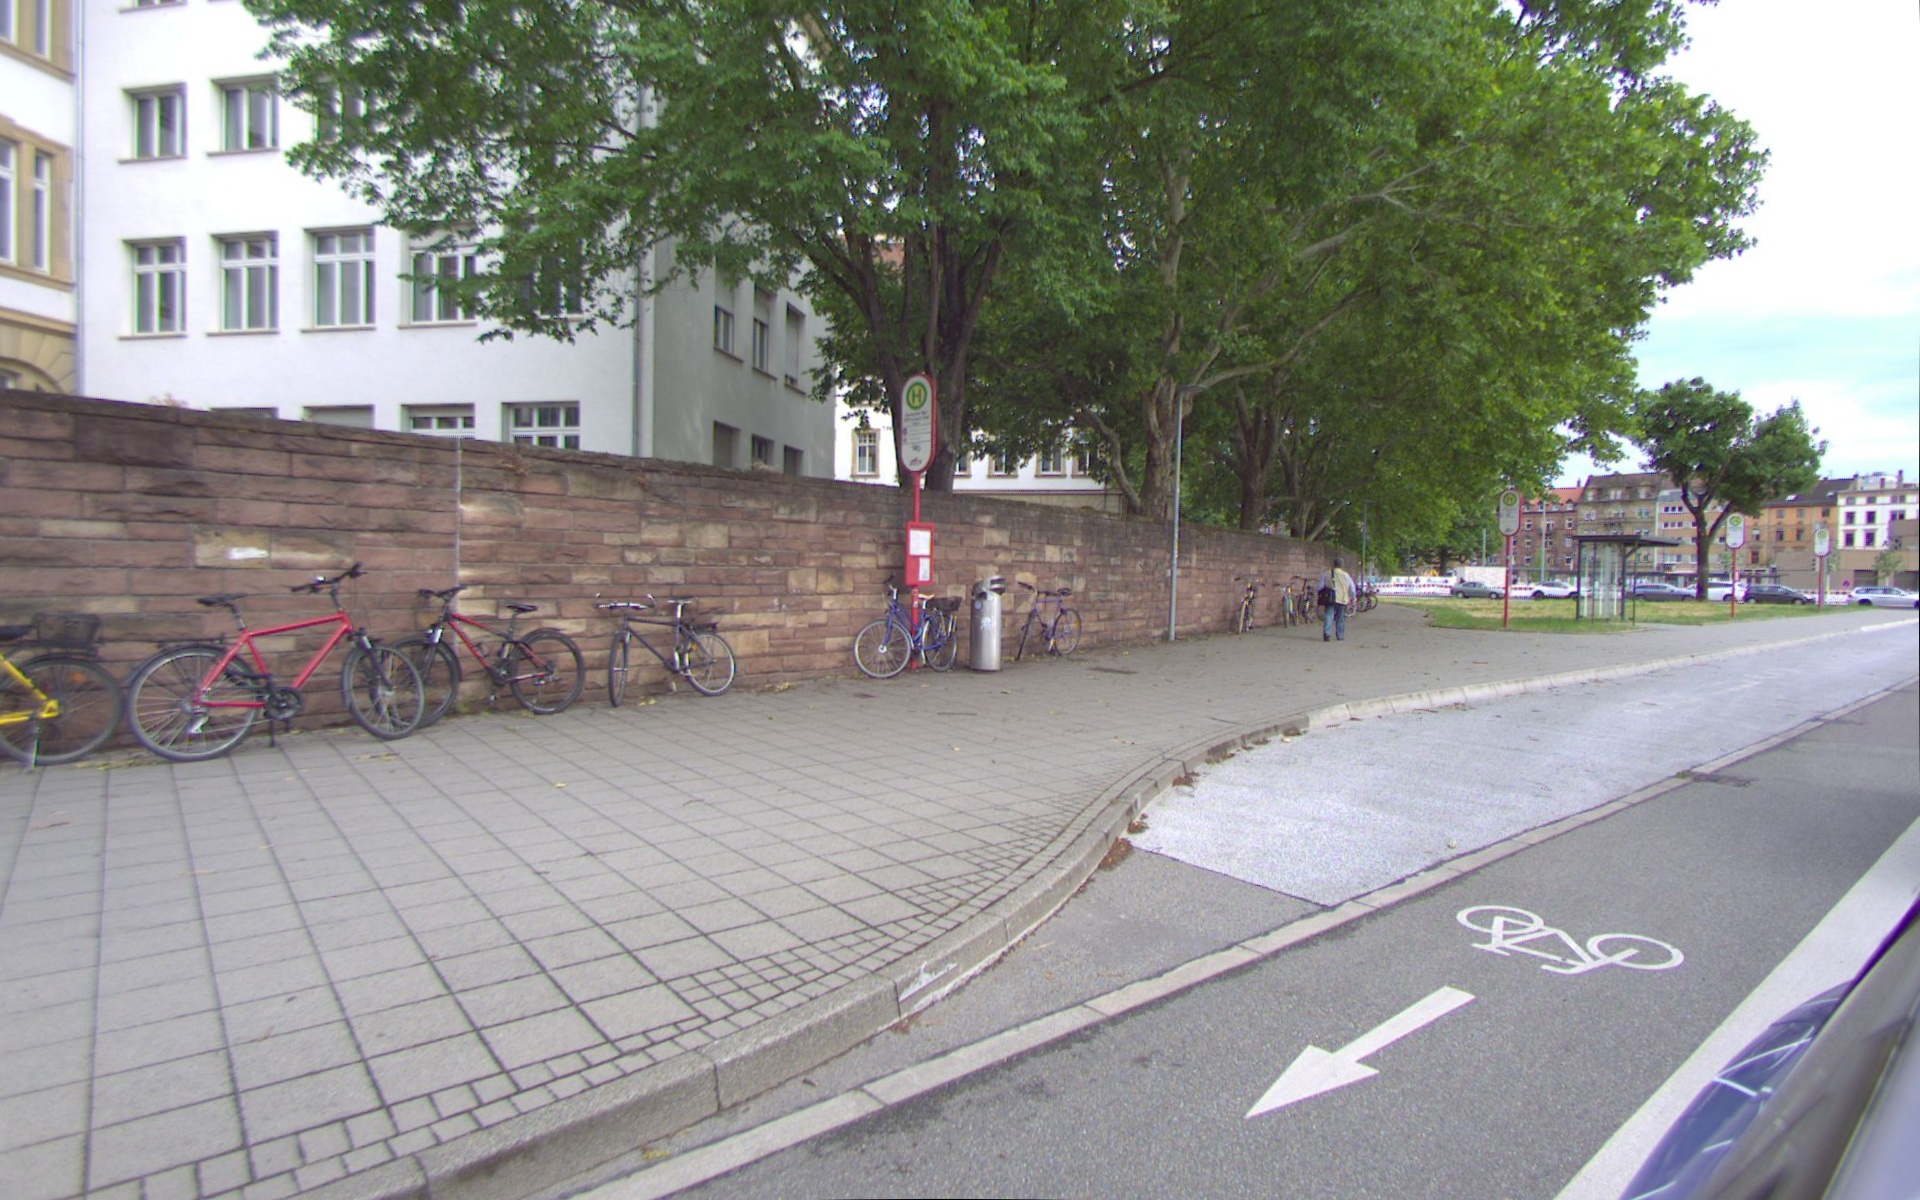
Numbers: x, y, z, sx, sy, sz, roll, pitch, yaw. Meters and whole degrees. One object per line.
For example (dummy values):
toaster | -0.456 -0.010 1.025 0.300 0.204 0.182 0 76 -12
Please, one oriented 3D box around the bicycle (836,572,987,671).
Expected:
bicycle | -0.535 0.220 12.068 0.476 1.089 2.051 2 2 42

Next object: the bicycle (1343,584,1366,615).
bicycle | 13.124 -0.036 33.665 0.563 0.951 1.752 2 2 26

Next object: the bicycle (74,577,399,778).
bicycle | -4.734 0.436 6.810 0.381 1.158 1.930 0 0 18

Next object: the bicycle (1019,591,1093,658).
bicycle | 1.407 0.328 14.661 0.290 0.896 1.590 2 2 36

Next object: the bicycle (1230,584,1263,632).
bicycle | 6.004 0.146 21.177 0.361 0.951 1.626 2 2 27

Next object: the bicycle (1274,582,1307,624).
bicycle | 8.041 0.060 24.593 0.477 0.951 1.882 2 2 27

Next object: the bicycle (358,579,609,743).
bicycle | -3.697 0.419 8.038 0.336 1.158 1.919 0 0 33

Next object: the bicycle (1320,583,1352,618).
bicycle | 10.789 -0.002 29.007 0.648 0.951 1.939 2 2 27

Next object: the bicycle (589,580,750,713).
bicycle | -2.706 0.399 9.595 0.336 1.158 1.658 0 0 33

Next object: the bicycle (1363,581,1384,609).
bicycle | 17.252 -0.218 42.180 0.686 1.098 1.639 2 2 26

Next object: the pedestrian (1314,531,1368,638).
pedestrian | 7.465 -0.314 19.820 0.778 2.038 0.879 2 1 32

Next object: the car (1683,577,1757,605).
car | 57.197 -0.689 76.154 4.271 2.039 1.969 0 0 44

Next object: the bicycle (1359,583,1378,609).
bicycle | 15.538 -0.158 38.489 0.555 0.951 1.342 2 2 26

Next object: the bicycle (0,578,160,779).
bicycle | -5.772 0.451 5.759 0.383 1.158 1.922 0 0 29
